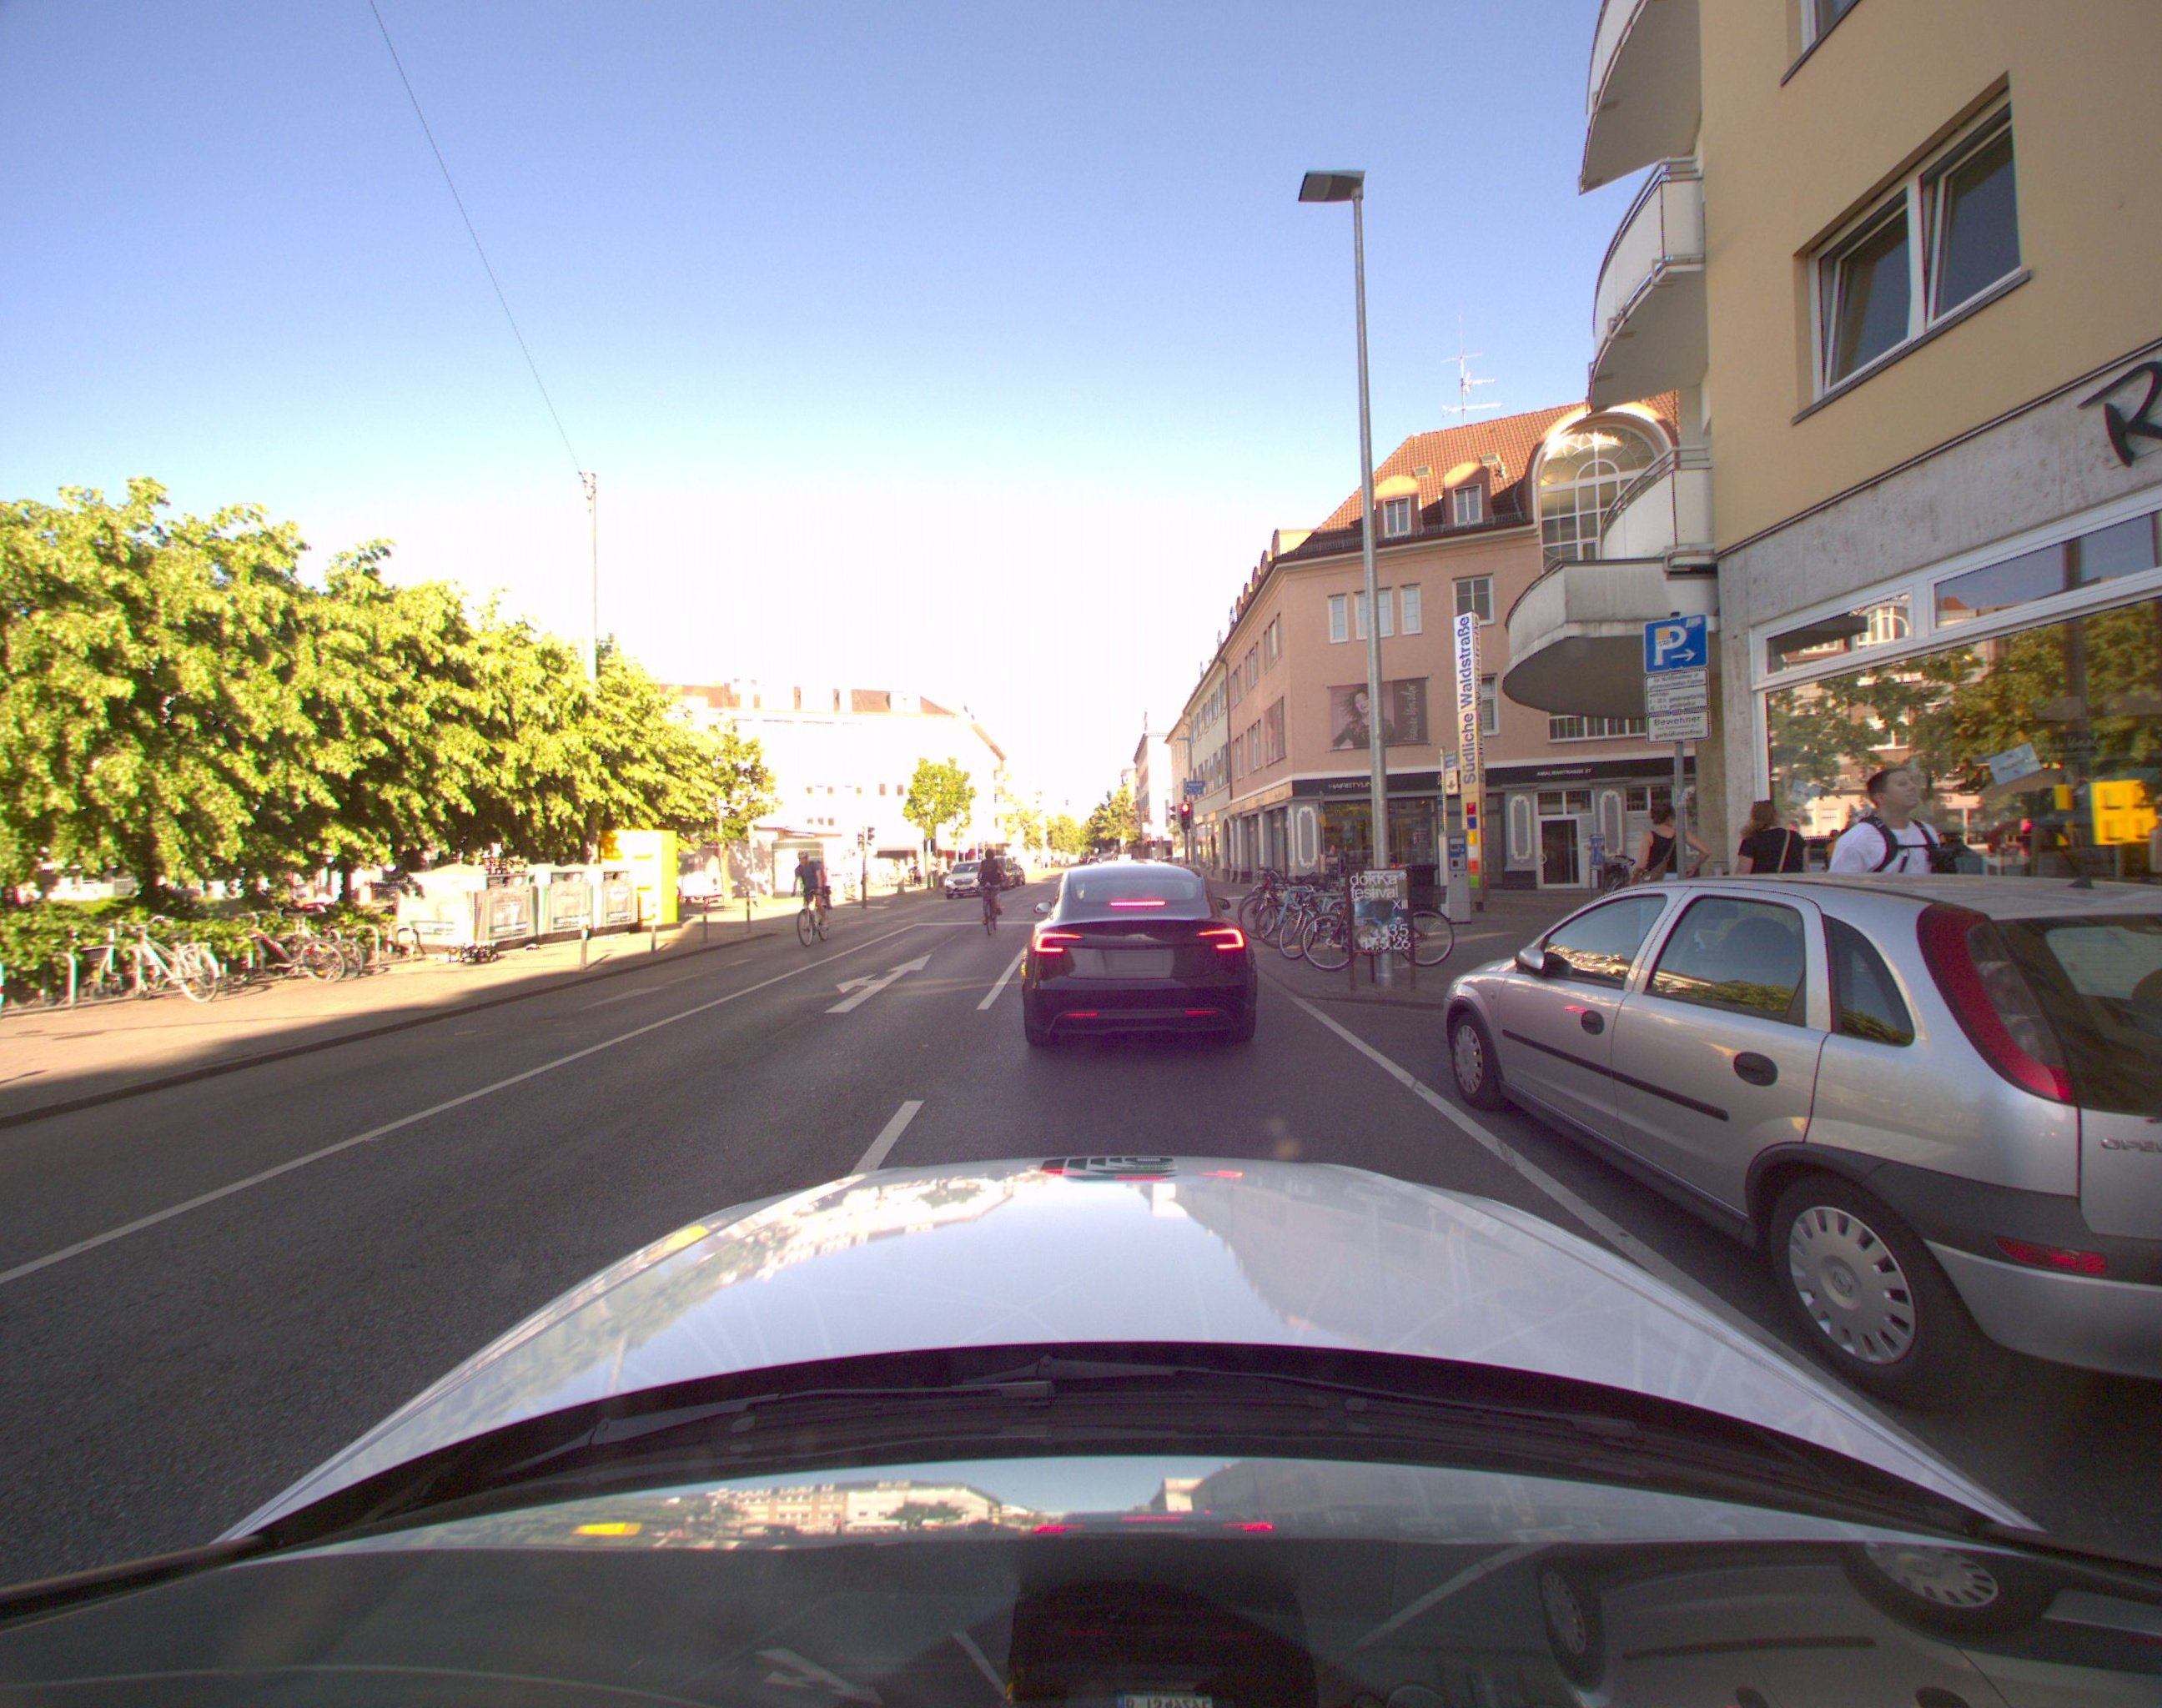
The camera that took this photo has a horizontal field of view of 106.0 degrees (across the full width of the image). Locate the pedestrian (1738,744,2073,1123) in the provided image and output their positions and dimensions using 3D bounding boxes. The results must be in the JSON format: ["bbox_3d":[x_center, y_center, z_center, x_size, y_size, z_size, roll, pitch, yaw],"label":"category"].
[{"bbox_3d":[4.382,0.390,4.436,0.805,1.823,0.984,-1,-1,5],"label":"pedestrian"}]

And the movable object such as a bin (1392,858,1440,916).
[{"bbox_3d":[6.748,0.657,16.419,0.633,1.103,0.728,-4,-1,5],"label":"movable object such as a bin"}]

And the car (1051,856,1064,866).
[{"bbox_3d":[-4.844,1.326,166.807,2.405,1.970,4.679,-1,0,2],"label":"car"}]

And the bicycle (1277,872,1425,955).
[{"bbox_3d":[3.659,0.796,11.153,1.806,1.060,0.653,-1,0,3],"label":"bicycle"}]

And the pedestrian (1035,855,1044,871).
[{"bbox_3d":[-4.863,1.100,94.989,0.726,1.868,0.796,-1,-1,30],"label":"pedestrian"}]

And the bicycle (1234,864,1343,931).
[{"bbox_3d":[3.741,0.781,14.769,1.806,1.152,0.653,-1,0,3],"label":"bicycle"}]

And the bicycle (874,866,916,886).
[{"bbox_3d":[-11.993,1.401,52.575,2.535,1.251,0.942,0,-1,-1],"label":"bicycle"}]

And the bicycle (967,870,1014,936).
[{"bbox_3d":[-1.830,0.969,16.735,0.625,1.223,2.002,0,0,3],"label":"bicycle"}]

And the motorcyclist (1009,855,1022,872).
[{"bbox_3d":[-6.449,0.938,80.373,1.114,1.633,0.770,0,-1,-24],"label":"motorcyclist"}]

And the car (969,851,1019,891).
[{"bbox_3d":[-4.491,0.835,42.919,1.938,1.947,4.822,-1,0,2],"label":"car"}]

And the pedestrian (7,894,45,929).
[{"bbox_3d":[-48.353,2.607,37.331,0.928,1.520,0.924,0,-1,-43],"label":"pedestrian"}]

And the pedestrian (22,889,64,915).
[{"bbox_3d":[-49.880,2.310,39.156,0.861,1.214,0.901,0,-1,2],"label":"pedestrian"}]

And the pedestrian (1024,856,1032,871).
[{"bbox_3d":[-6.367,1.132,97.560,0.734,1.868,0.787,0,-1,-15],"label":"pedestrian"}]

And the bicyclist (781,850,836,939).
[{"bbox_3d":[-5.458,0.798,16.355,0.698,1.709,0.810,-4,-1,2],"label":"bicyclist"}]

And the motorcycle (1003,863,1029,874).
[{"bbox_3d":[-6.428,1.454,80.353,2.388,1.036,0.777,0,-1,-23],"label":"motorcycle"}]

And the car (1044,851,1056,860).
[{"bbox_3d":[-7.148,0.295,188.731,2.266,2.014,4.720,0,-1,3],"label":"car"}]

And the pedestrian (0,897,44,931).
[{"bbox_3d":[-61.070,3.446,46.965,1.089,1.842,1.307,-1,-1,21],"label":"pedestrian"}]

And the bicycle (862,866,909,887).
[{"bbox_3d":[-12.048,1.387,50.300,2.655,1.259,0.942,0,-1,-1],"label":"bicycle"}]

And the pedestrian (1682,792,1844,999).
[{"bbox_3d":[6.192,0.365,7.447,0.718,1.754,0.789,-4,-1,5],"label":"pedestrian"}]

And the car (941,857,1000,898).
[{"bbox_3d":[-4.879,1.015,36.596,1.818,1.565,4.302,-5,-1,2],"label":"car"}]

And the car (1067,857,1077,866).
[{"bbox_3d":[-1.981,1.782,187.427,2.124,1.970,4.135,-1,0,2],"label":"car"}]

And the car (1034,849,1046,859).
[{"bbox_3d":[-9.004,-0.008,180.136,2.266,2.014,4.720,0,-1,3],"label":"car"}]

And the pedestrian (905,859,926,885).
[{"bbox_3d":[-10.458,1.144,51.439,1.090,1.611,1.265,0,-1,-3],"label":"pedestrian"}]

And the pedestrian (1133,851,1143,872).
[{"bbox_3d":[4.788,0.614,68.602,0.660,1.760,0.649,0,-1,-22],"label":"pedestrian"}]

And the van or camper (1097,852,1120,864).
[{"bbox_3d":[5.648,0.855,167.658,4.832,2.438,1.851,-1,0,1],"label":"van or camper"}]

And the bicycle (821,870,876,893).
[{"bbox_3d":[-12.320,1.438,43.243,2.652,1.195,0.942,0,-1,-1],"label":"bicycle"}]

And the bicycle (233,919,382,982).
[{"bbox_3d":[-11.458,1.424,12.101,1.663,0.859,0.469,0,-1,-5],"label":"bicycle"}]

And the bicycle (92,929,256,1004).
[{"bbox_3d":[-11.458,1.416,10.304,1.560,0.886,0.470,0,-1,1],"label":"bicycle"}]

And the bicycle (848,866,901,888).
[{"bbox_3d":[-12.149,1.364,47.982,2.867,1.270,0.942,0,-1,-1],"label":"bicycle"}]

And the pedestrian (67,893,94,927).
[{"bbox_3d":[-47.001,2.602,38.252,0.827,1.520,0.782,-1,-1,38],"label":"pedestrian"}]

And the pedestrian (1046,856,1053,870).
[{"bbox_3d":[-4.224,1.219,110.217,0.775,1.868,1.004,0,-1,-13],"label":"pedestrian"}]

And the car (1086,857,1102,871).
[{"bbox_3d":[1.744,1.382,109.596,2.029,1.788,4.005,-1,0,0],"label":"car"}]

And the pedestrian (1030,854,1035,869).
[{"bbox_3d":[-6.206,0.979,104.223,0.693,1.868,0.658,0,-1,-3],"label":"pedestrian"}]

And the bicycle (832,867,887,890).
[{"bbox_3d":[-12.388,1.371,45.587,2.772,1.274,0.933,0,-1,-2],"label":"bicycle"}]

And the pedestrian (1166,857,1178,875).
[{"bbox_3d":[7.931,1.034,71.191,0.812,1.609,0.702,0,-1,-35],"label":"pedestrian"}]

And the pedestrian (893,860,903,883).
[{"bbox_3d":[-13.934,1.348,61.976,0.661,1.760,0.648,0,-1,-24],"label":"pedestrian"}]

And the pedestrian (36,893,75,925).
[{"bbox_3d":[-50.213,2.678,39.893,1.029,1.520,1.023,0,-1,-43],"label":"pedestrian"}]

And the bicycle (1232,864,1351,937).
[{"bbox_3d":[3.500,0.773,13.640,1.806,1.152,0.653,-1,0,3],"label":"bicycle"}]

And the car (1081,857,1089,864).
[{"bbox_3d":[1.057,1.588,202.479,1.886,1.813,3.925,0,-1,0],"label":"car"}]

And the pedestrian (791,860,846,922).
[{"bbox_3d":[-7.556,1.047,23.492,1.101,1.719,1.066,-1,-1,15],"label":"pedestrian"}]

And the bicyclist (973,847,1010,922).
[{"bbox_3d":[-1.830,0.617,16.738,0.603,1.484,0.959,0,-1,3],"label":"bicyclist"}]

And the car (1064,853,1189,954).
[{"bbox_3d":[0.746,0.748,14.304,1.843,1.482,4.453,0,0,2],"label":"car"}]

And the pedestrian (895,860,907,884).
[{"bbox_3d":[-13.563,1.331,61.390,0.845,1.760,0.703,0,-1,-15],"label":"pedestrian"}]

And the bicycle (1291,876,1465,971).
[{"bbox_3d":[3.639,0.843,10.080,1.875,1.044,0.653,-2,0,3],"label":"bicycle"}]

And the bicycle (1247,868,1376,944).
[{"bbox_3d":[3.522,0.789,12.564,1.806,1.102,0.653,-1,0,3],"label":"bicycle"}]

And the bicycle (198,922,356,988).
[{"bbox_3d":[-11.423,1.422,11.602,1.667,0.859,0.469,0,-1,-5],"label":"bicycle"}]

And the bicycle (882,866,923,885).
[{"bbox_3d":[-12.047,1.421,55.003,2.535,1.251,0.942,0,-1,-1],"label":"bicycle"}]

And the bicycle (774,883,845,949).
[{"bbox_3d":[-5.425,1.214,16.387,0.613,1.162,1.959,-3,-1,3],"label":"bicycle"}]

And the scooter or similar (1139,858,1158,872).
[{"bbox_3d":[5.717,0.919,69.007,1.339,1.134,0.804,0,-1,-23],"label":"scooter or similar"}]

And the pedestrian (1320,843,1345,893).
[{"bbox_3d":[8.082,0.448,26.146,0.715,1.549,0.796,-1,-1,20],"label":"pedestrian"}]

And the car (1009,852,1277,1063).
[{"bbox_3d":[0.499,0.737,7.881,1.843,1.447,4.453,0,0,2],"label":"car"}]

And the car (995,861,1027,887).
[{"bbox_3d":[-4.251,1.205,50.045,1.455,1.430,3.607,-5,-1,2],"label":"car"}]

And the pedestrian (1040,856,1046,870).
[{"bbox_3d":[-5.302,1.257,113.915,0.696,1.868,0.905,0,-1,-15],"label":"pedestrian"}]

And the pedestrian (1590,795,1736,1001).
[{"bbox_3d":[5.616,0.411,7.922,0.677,1.849,0.895,-5,-1,7],"label":"pedestrian"}]

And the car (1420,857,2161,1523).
[{"bbox_3d":[2.963,0.736,3.544,1.578,1.426,3.581,0,-1,2],"label":"car"}]
